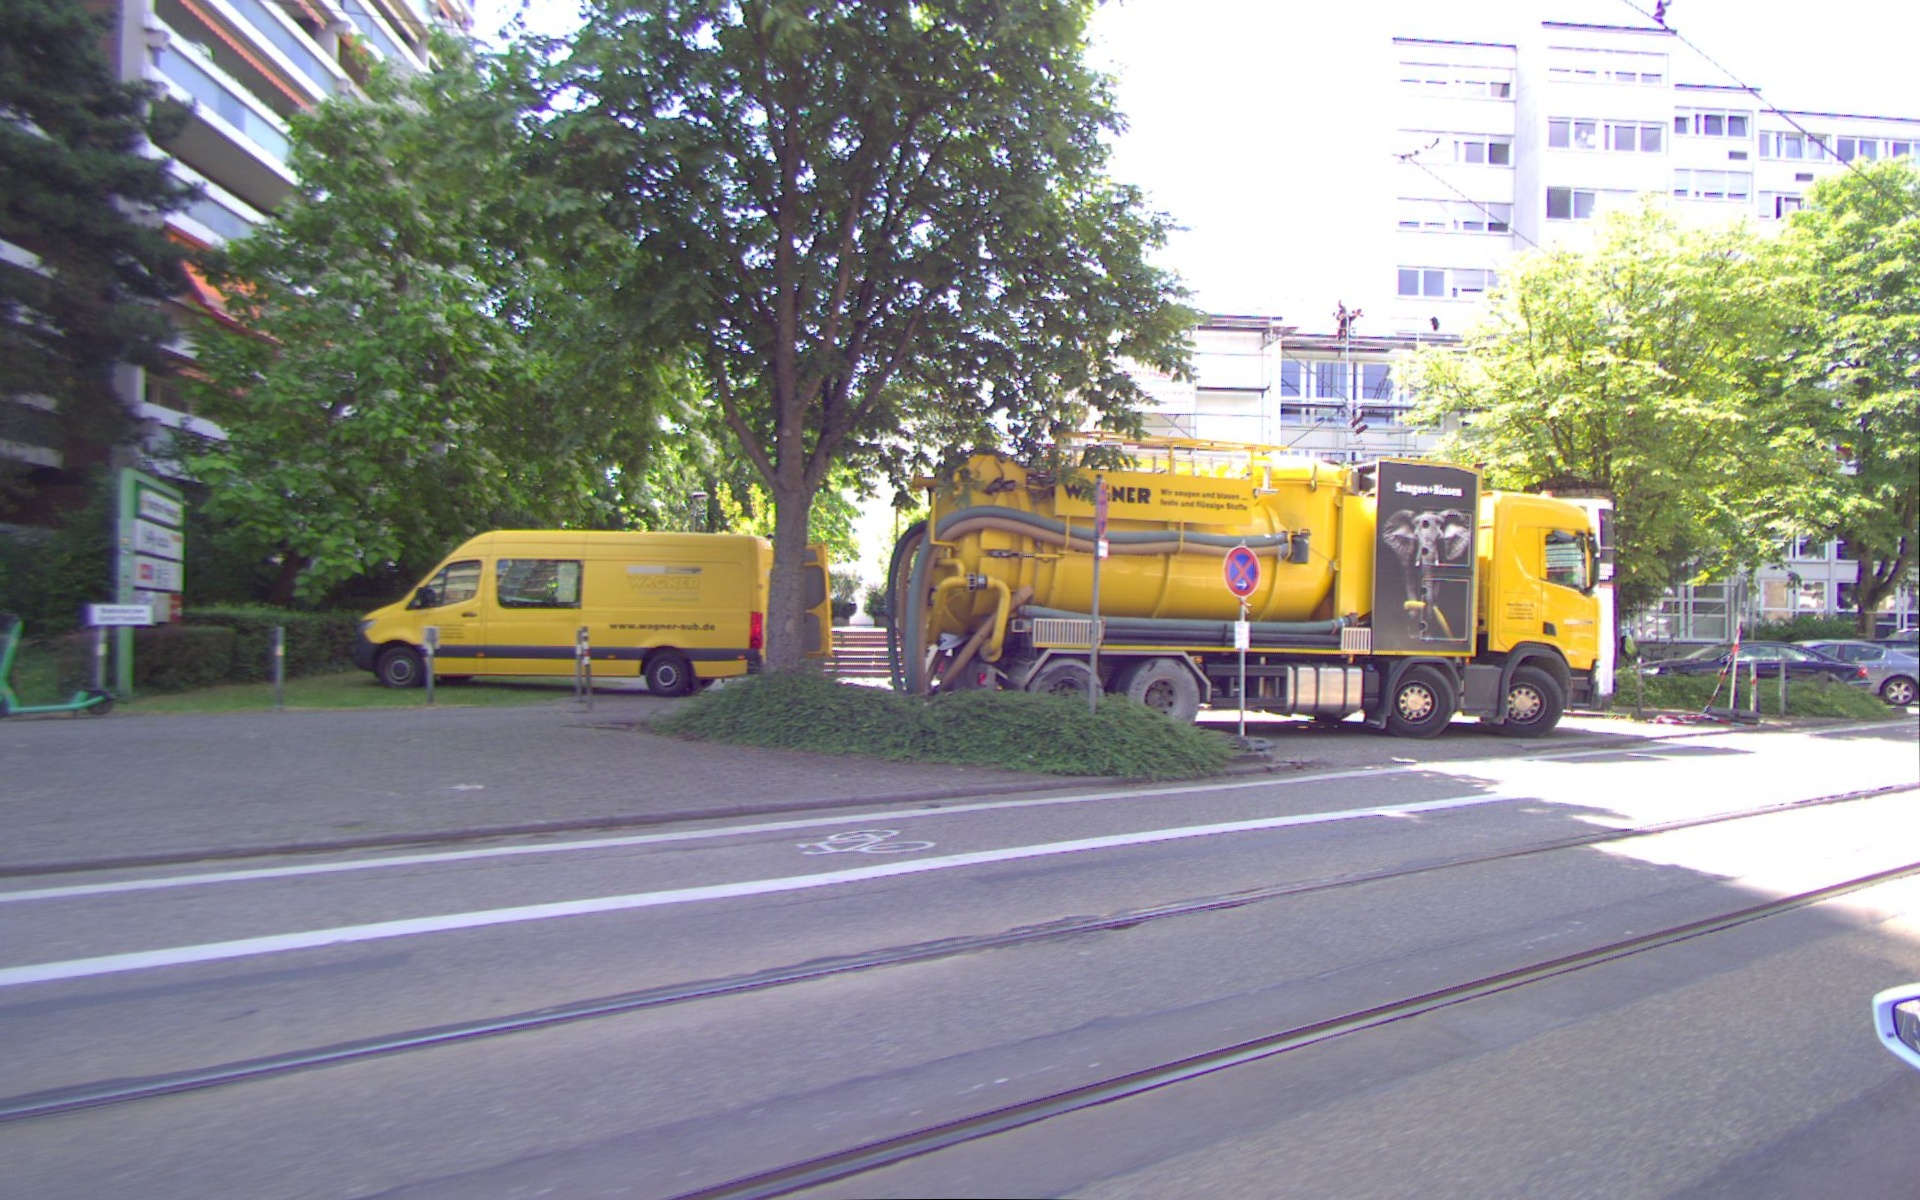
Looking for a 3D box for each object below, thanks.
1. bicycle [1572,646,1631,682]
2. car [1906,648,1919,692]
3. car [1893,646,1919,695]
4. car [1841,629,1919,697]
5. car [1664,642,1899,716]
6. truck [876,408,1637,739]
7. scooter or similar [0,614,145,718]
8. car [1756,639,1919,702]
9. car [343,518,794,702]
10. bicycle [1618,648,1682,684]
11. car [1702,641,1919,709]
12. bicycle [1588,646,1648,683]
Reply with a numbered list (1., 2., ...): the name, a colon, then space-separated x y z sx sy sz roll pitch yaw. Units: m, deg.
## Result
1. bicycle: 21.676 2.147 33.995 0.547 1.089 2.016 1 0 -4
2. car: 33.813 2.323 32.923 3.634 1.486 1.764 0 -3 15
3. car: 31.807 2.220 31.234 3.634 1.526 1.819 0 -3 14
4. car: 29.267 1.854 29.512 4.660 1.960 1.924 0 -3 13
5. car: 18.213 1.726 22.456 3.634 1.526 1.764 0 -3 13
6. truck: 4.396 -0.104 14.623 10.785 3.892 2.715 2 0 -16
7. scooter or similar: -10.195 0.743 11.425 1.351 1.139 0.382 2 0 -26
8. car: 23.263 1.812 26.103 3.634 1.564 1.693 0 -3 15
9. car: -6.321 0.180 16.871 6.592 2.599 2.185 2 -1 0
10. bicycle: 23.279 2.209 33.935 0.547 1.089 2.135 1 0 -4
11. car: 20.823 1.780 24.364 4.120 1.526 1.875 0 -3 19
12. bicycle: 22.282 2.168 34.057 0.547 1.089 2.016 1 0 -4
